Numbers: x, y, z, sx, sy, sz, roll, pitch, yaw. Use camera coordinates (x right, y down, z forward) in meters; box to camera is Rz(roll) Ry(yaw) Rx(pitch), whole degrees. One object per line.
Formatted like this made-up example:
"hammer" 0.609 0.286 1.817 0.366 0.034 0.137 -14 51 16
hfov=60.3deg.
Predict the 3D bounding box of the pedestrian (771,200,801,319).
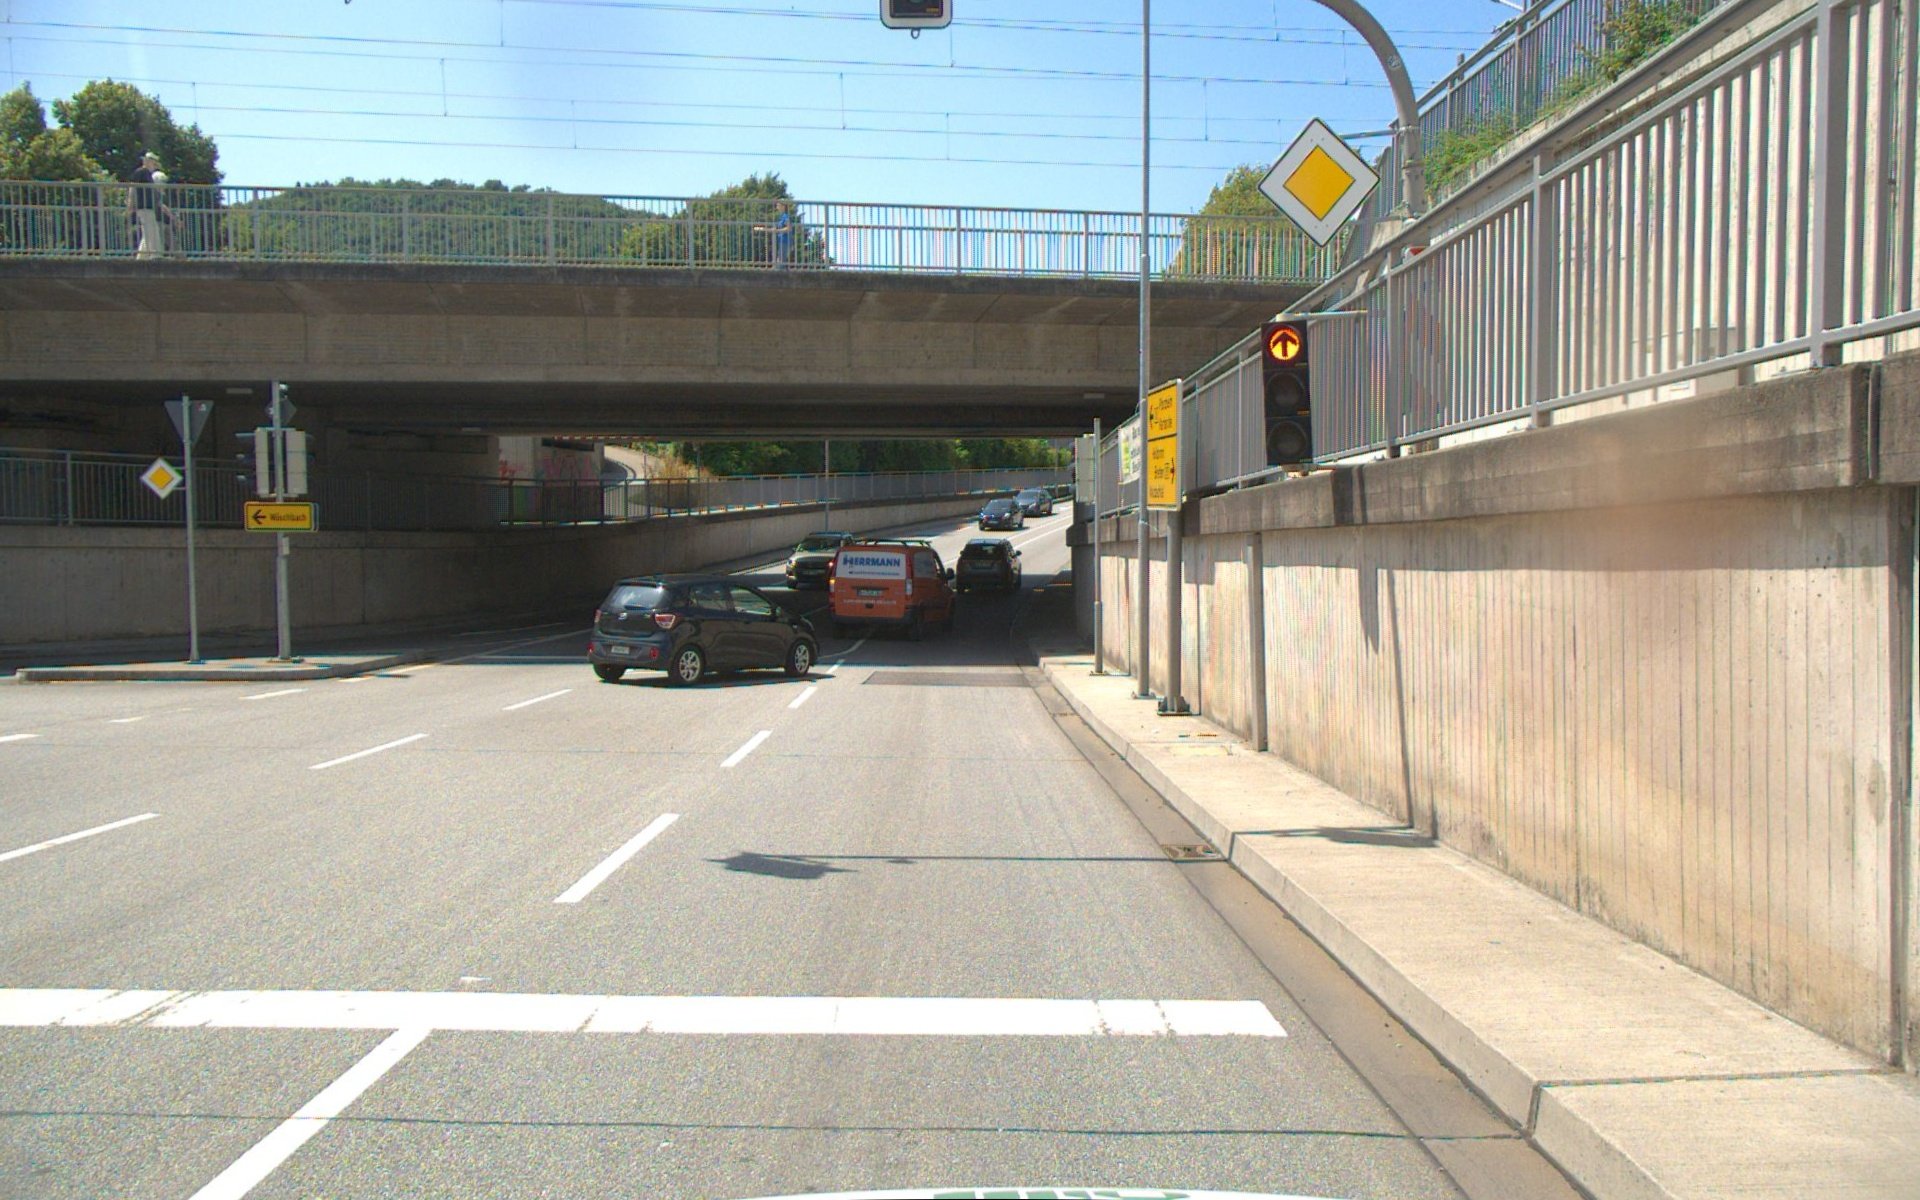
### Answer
"pedestrian" -3.259 -6.371 30.977 0.529 2.117 0.534 -1 0 -8

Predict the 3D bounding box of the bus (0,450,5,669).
"bus" -19.757 -0.499 21.781 12.240 3.227 2.557 -2 3 -36

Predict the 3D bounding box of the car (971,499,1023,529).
"car" 1.911 -4.361 84.053 1.744 1.461 4.004 1 3 14

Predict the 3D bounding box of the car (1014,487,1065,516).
"car" 4.569 -5.614 94.598 1.952 1.616 4.003 1 3 18

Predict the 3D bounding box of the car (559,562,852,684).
"car" -3.581 0.251 23.857 1.961 1.534 3.984 2 2 37

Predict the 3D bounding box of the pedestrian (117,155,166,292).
"pedestrian" -13.393 -6.149 27.063 0.566 2.117 0.534 -1 0 -11

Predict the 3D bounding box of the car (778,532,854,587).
"car" -4.509 -1.311 52.374 1.952 1.655 4.002 0 3 2

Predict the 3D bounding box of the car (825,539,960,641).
"car" -1.357 -0.289 35.279 1.833 1.965 4.725 1 3 11

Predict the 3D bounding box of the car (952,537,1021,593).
"car" 0.873 -1.125 51.744 1.766 1.646 4.004 1 2 7
